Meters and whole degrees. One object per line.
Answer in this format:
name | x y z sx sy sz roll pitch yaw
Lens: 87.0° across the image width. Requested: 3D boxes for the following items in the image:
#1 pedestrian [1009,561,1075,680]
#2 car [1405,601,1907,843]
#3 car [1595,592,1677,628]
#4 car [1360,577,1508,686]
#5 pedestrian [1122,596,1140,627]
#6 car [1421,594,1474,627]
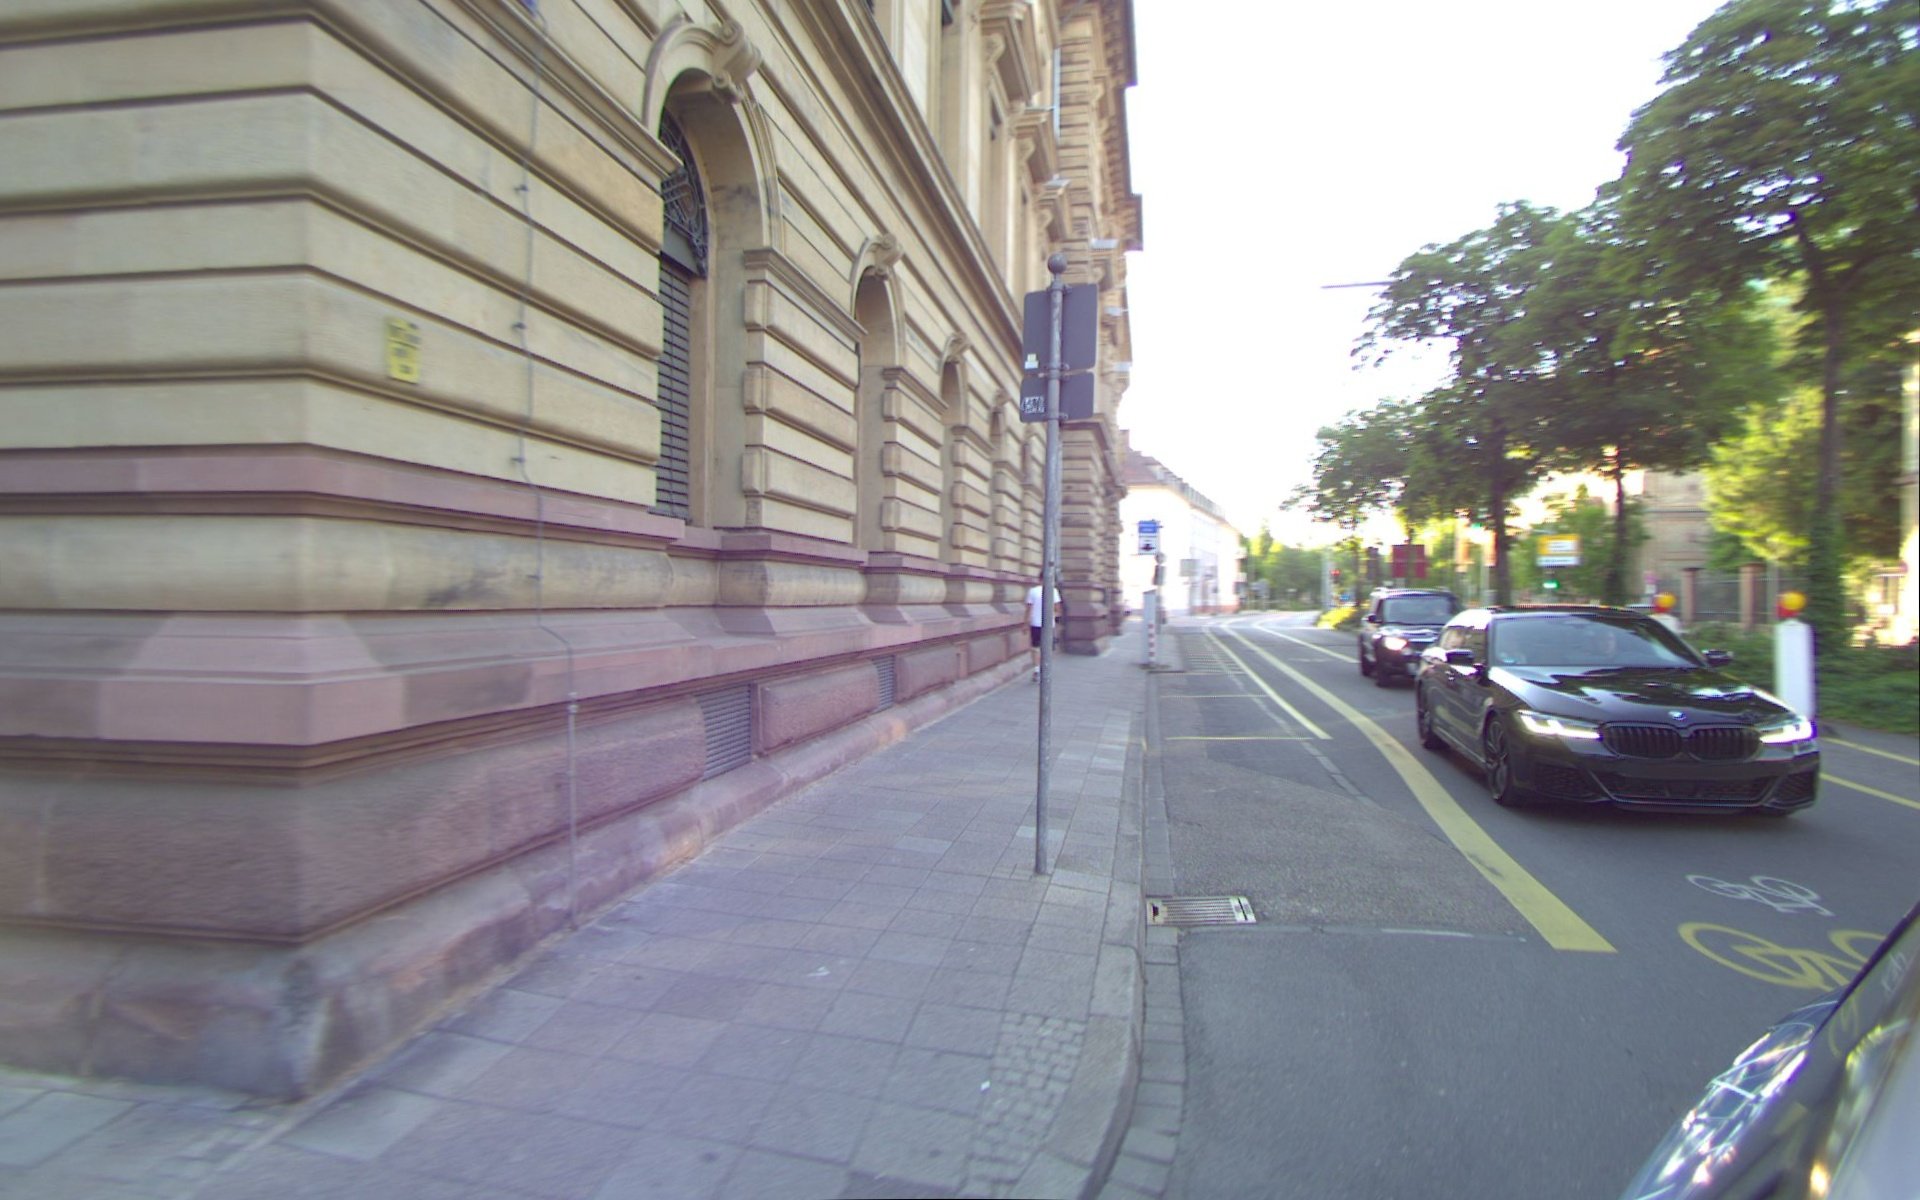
pedestrian | 1.294 0.315 15.868 0.808 1.788 1.032 -1 -1 17
car | 5.260 0.726 8.573 1.937 1.404 4.760 0 0 14
car | 31.611 0.476 47.464 1.724 1.567 4.351 -1 -1 13
car | 8.345 0.499 18.180 1.815 1.705 4.199 -1 0 18
pedestrian | 11.341 0.740 67.143 0.783 2.039 0.981 0 -1 37
car | 24.235 0.511 50.237 1.838 1.567 4.068 1 0 34
